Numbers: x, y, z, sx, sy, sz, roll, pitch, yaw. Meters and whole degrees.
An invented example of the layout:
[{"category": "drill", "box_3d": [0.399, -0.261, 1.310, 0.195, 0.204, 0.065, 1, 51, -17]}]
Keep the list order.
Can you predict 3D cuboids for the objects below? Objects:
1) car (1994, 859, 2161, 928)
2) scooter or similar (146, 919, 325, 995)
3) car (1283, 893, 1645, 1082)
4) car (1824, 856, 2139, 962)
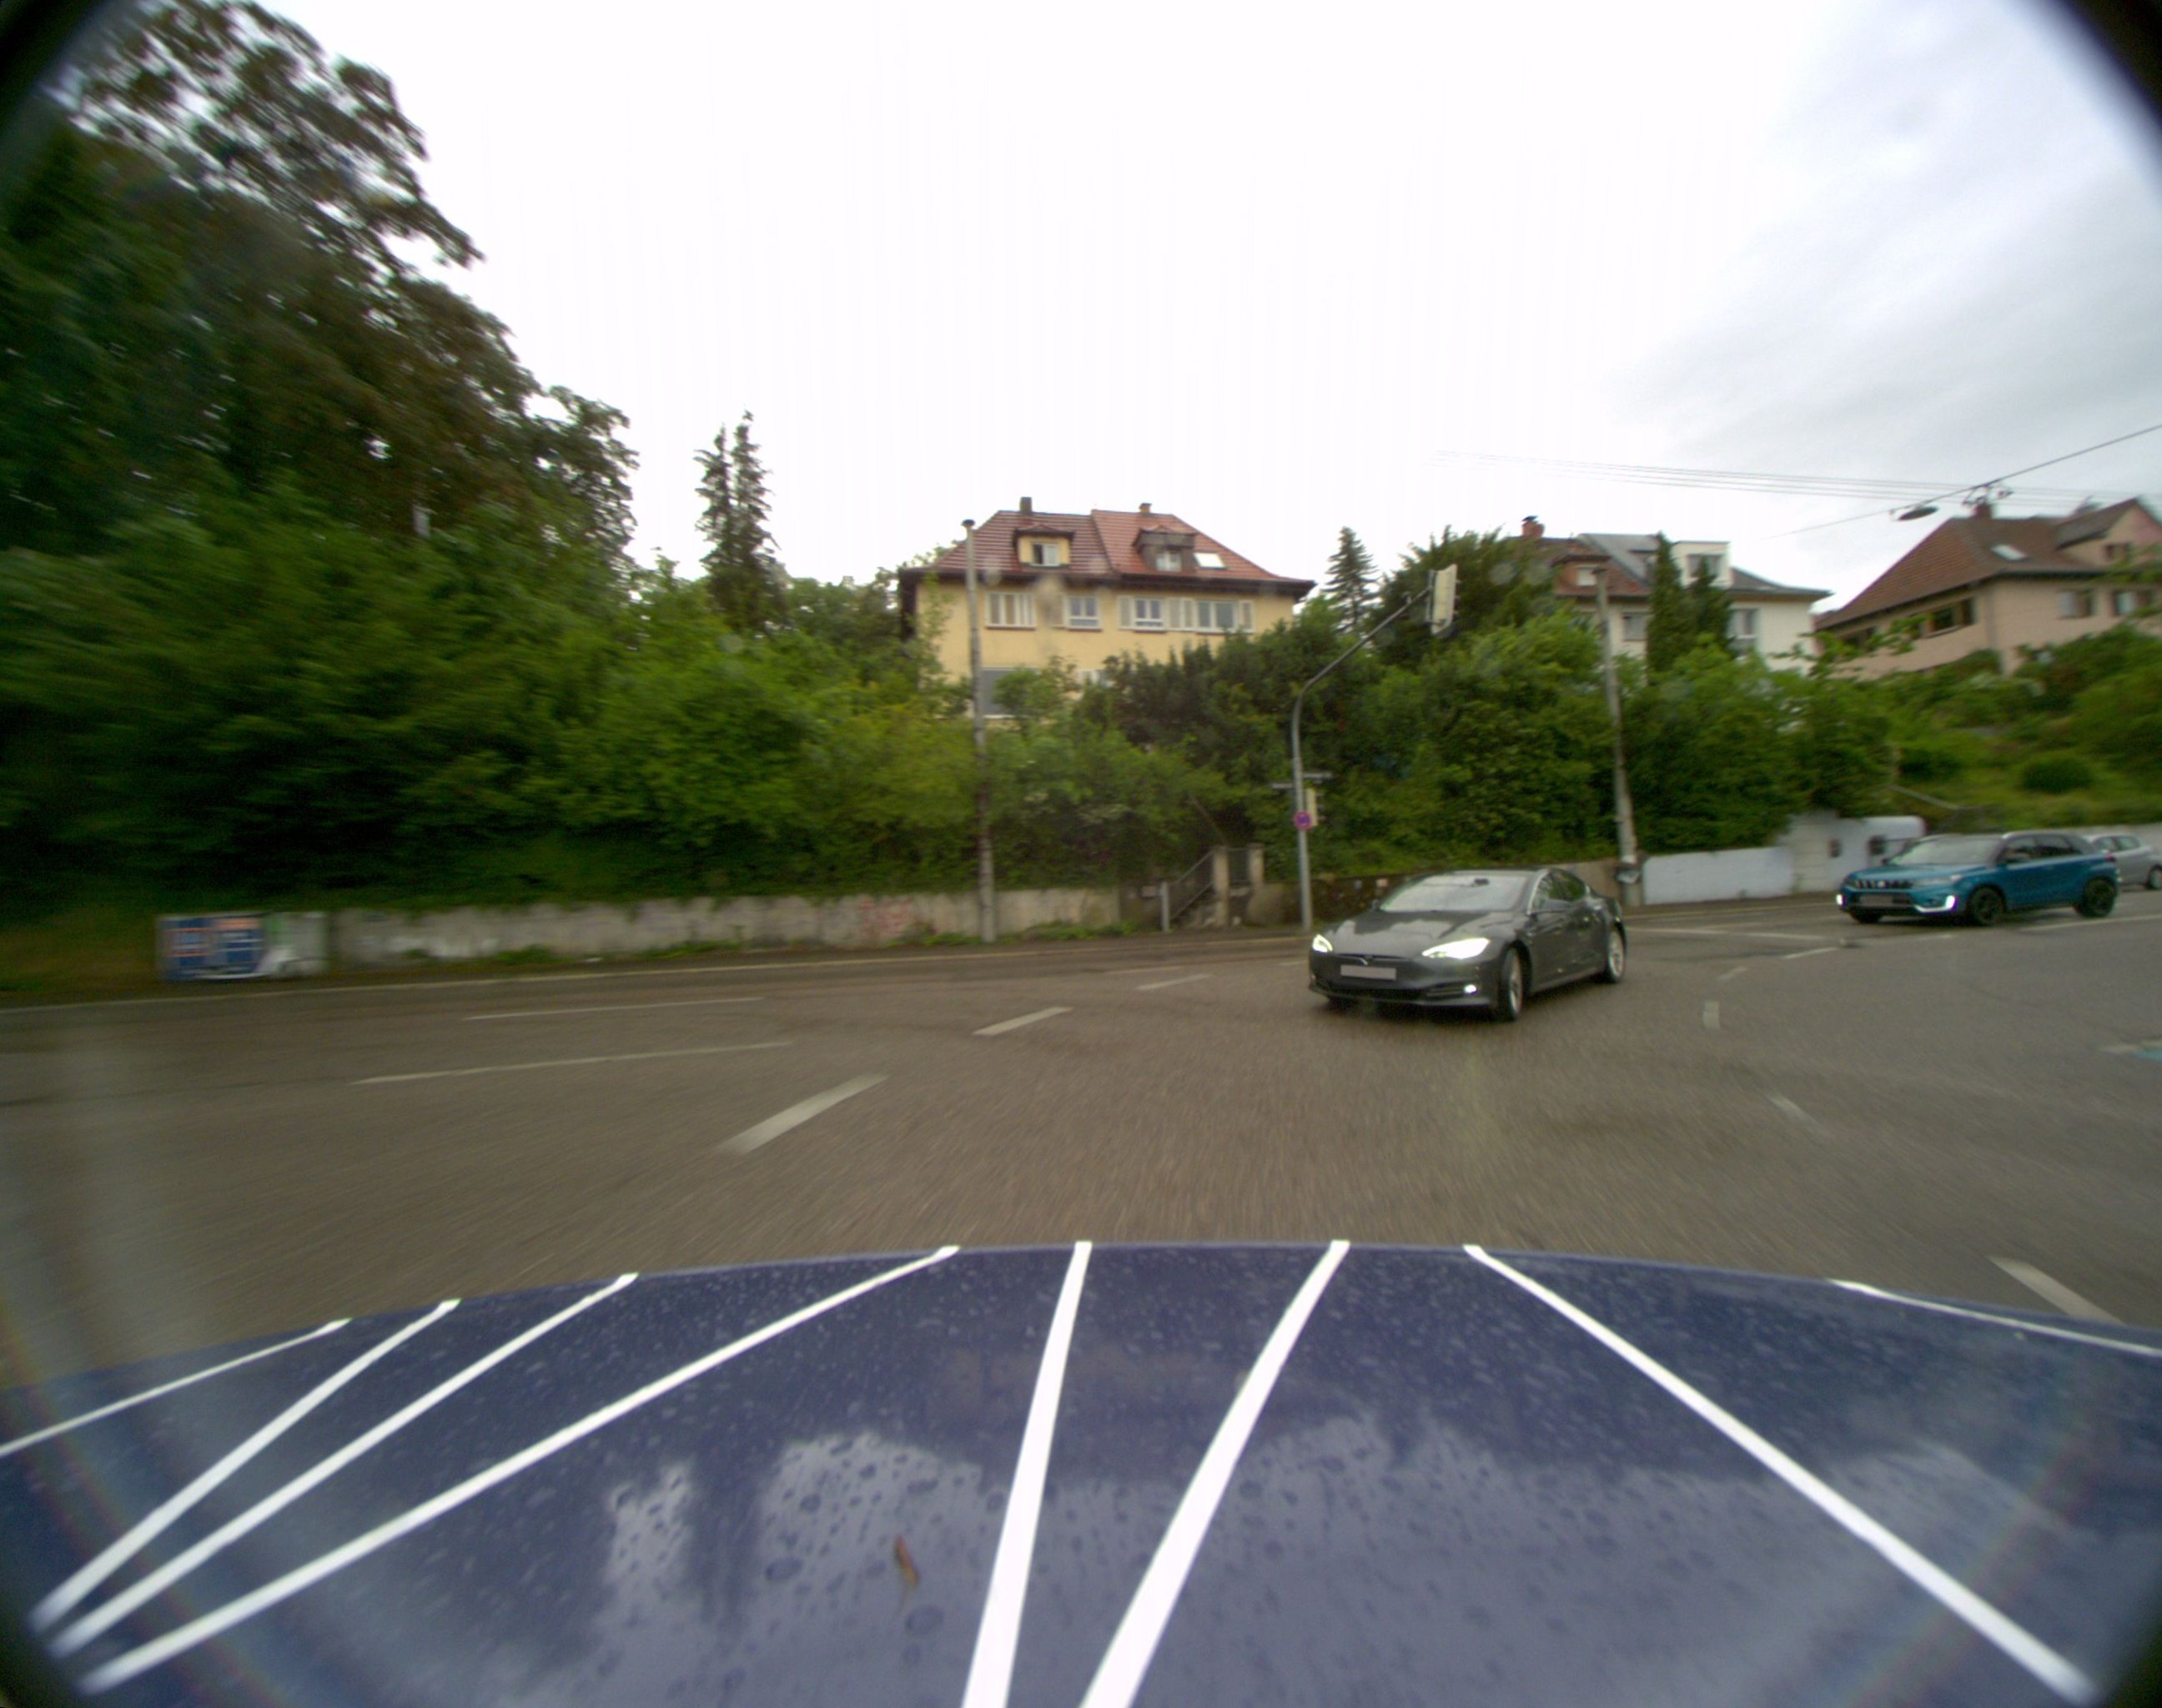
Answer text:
[{"category": "car", "box_3d": [24.848, 0.941, 18.617, 3.365, 1.442, 1.552, -3, -2, -8]}, {"category": "scooter or similar", "box_3d": [-13.045, 1.573, 11.787, 1.770, 1.068, 0.603, 0, -3, -17]}, {"category": "car", "box_3d": [4.311, 1.194, 8.266, 4.333, 1.383, 1.832, 0, -1, -38]}, {"category": "car", "box_3d": [15.993, 0.937, 13.584, 4.042, 1.599, 1.801, -2, -2, -11]}]
